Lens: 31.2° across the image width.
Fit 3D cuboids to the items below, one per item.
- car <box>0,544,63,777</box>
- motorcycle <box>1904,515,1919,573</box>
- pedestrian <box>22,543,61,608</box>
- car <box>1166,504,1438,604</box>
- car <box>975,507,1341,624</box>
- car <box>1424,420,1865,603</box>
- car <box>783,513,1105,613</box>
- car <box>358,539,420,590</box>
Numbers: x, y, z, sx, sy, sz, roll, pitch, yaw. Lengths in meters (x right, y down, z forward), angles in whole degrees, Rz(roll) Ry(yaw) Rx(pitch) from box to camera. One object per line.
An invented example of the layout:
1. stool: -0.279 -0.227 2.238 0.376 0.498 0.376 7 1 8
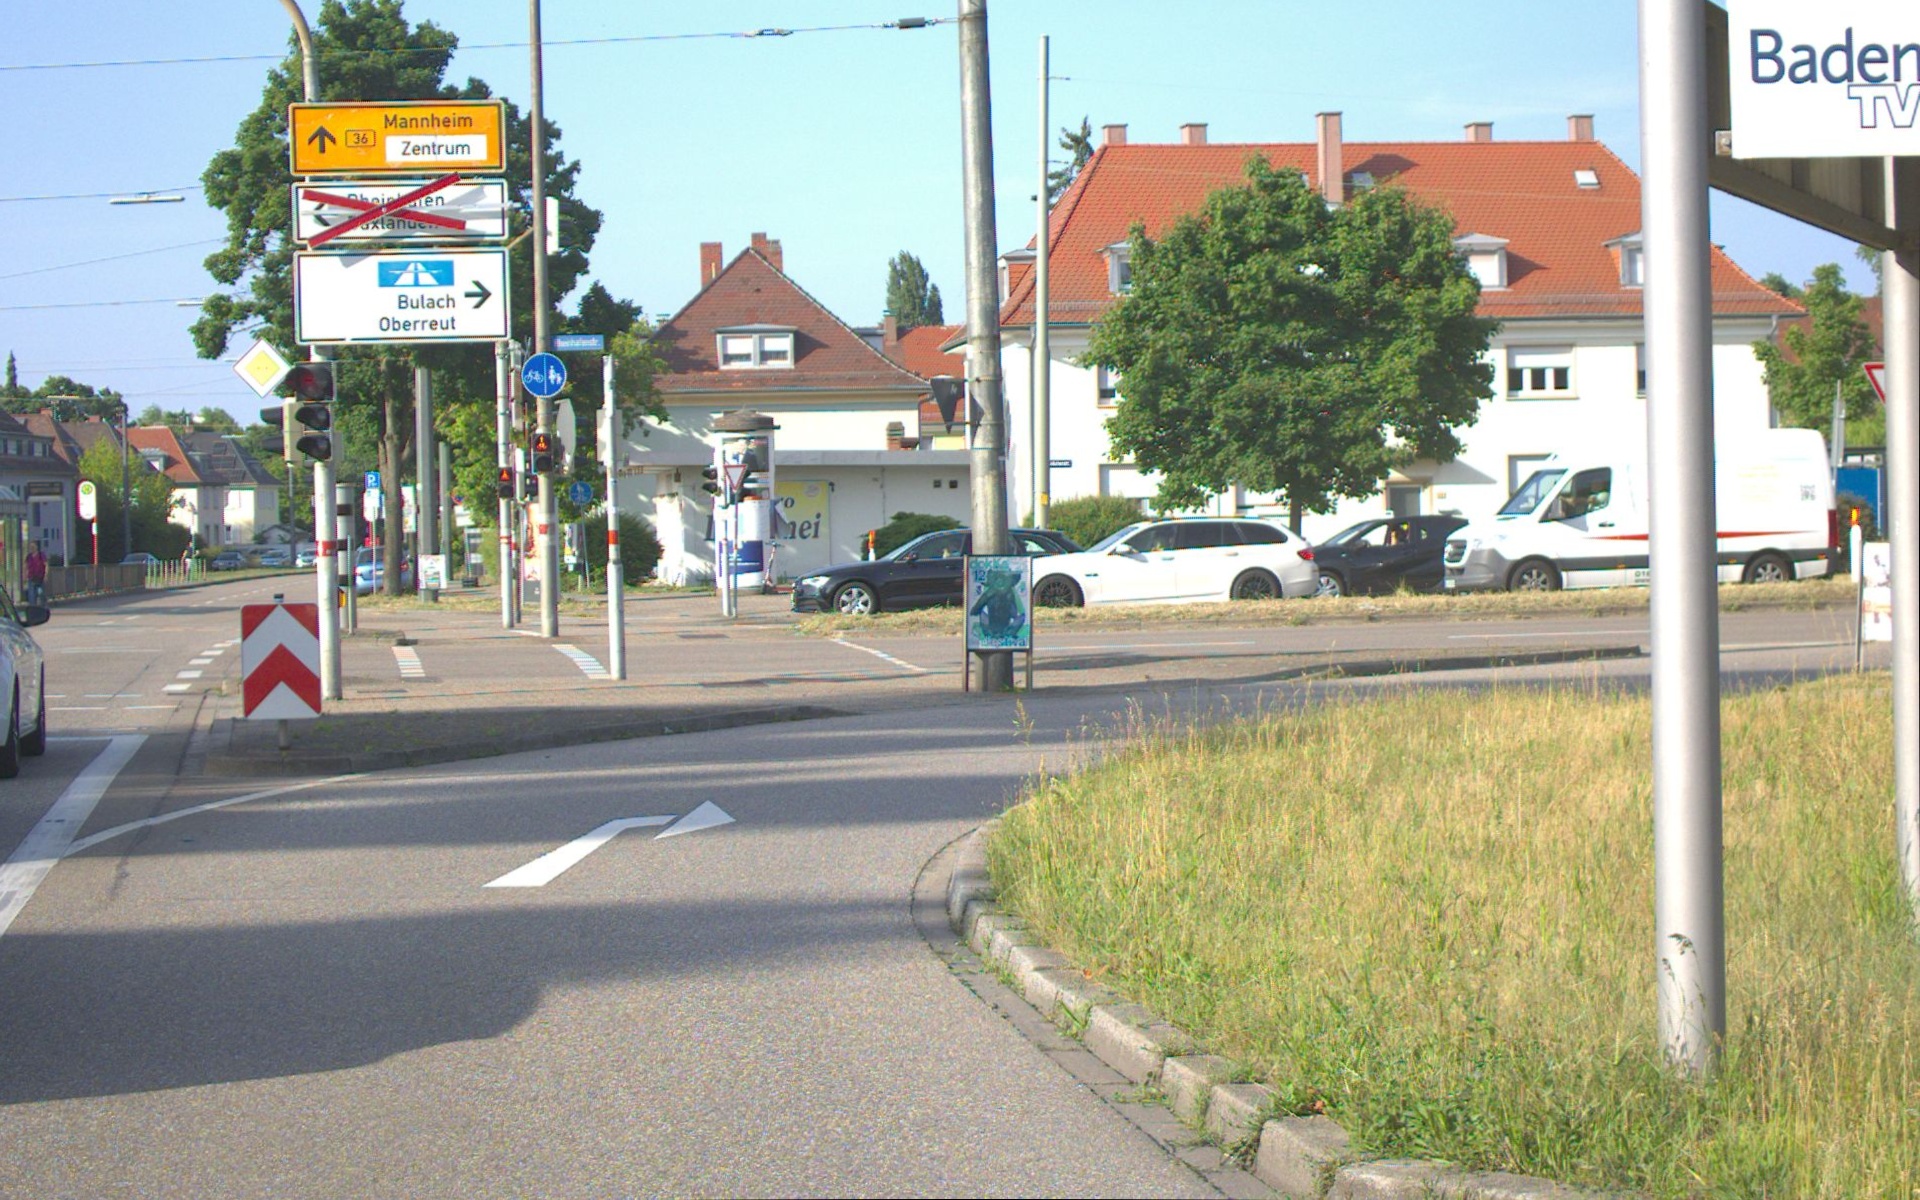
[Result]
1. car: -7.040 0.369 23.230 1.656 1.438 4.015 -2 1 -12
2. motorcycle: 15.573 -0.878 52.250 2.270 0.863 0.691 -2 1 -10
3. pedestrian: -21.316 -0.572 79.784 0.753 1.494 0.827 0 0 -7
4. car: 5.439 -0.741 54.847 3.986 1.448 1.716 -2 1 -9
5. car: 2.904 -0.520 50.923 5.093 1.557 1.840 -2 1 -9
6. car: 10.347 -1.351 52.136 6.206 2.574 2.001 -2 1 -9
7. car: -0.272 -0.597 53.969 4.822 1.406 1.716 -2 1 -9
8. car: -16.028 -0.995 96.566 1.674 1.393 4.001 0 0 -9
